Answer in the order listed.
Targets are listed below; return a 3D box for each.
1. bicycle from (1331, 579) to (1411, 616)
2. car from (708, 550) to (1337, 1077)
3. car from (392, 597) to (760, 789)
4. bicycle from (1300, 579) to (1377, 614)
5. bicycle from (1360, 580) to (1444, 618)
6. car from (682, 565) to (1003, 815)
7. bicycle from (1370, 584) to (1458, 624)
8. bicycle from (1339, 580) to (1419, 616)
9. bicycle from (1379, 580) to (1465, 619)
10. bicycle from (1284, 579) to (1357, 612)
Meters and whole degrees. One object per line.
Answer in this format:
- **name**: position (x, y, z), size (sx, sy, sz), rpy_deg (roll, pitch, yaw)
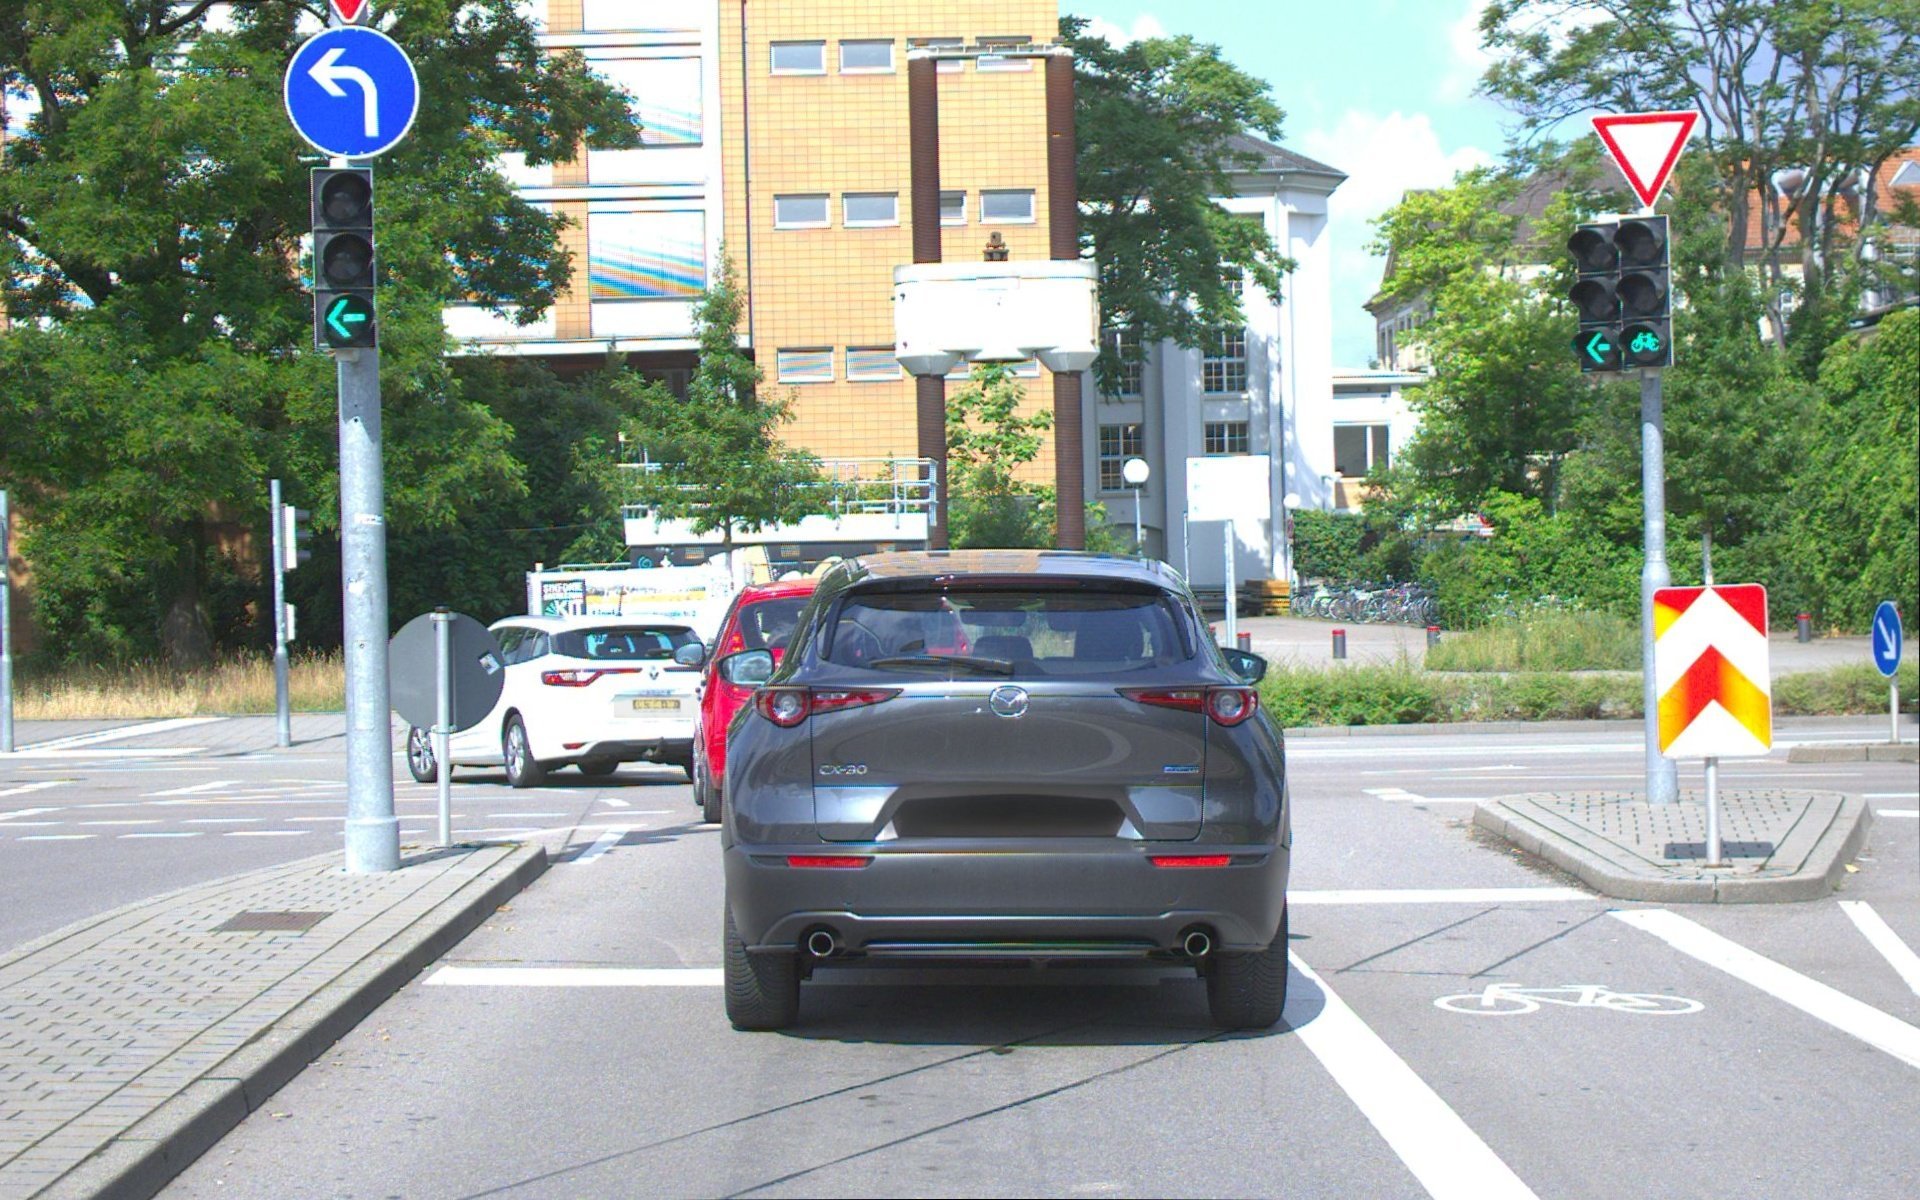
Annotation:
- **bicycle**: position (11.278, -0.069, 94.357), size (2.055, 0.933, 0.804), rpy_deg (-2, 0, -1)
- **car**: position (0.134, 0.599, 12.133), size (1.806, 1.503, 4.205), rpy_deg (1, 1, -1)
- **car**: position (-3.389, 0.747, 29.596), size (1.847, 1.467, 4.336), rpy_deg (-2, 1, -25)
- **bicycle**: position (10.798, -0.104, 98.091), size (2.055, 0.933, 0.804), rpy_deg (-2, 0, -1)
- **bicycle**: position (11.543, -0.027, 89.897), size (2.055, 0.933, 0.804), rpy_deg (-2, 0, -1)
- **car**: position (-0.834, 0.569, 21.819), size (1.816, 1.435, 4.067), rpy_deg (0, -1, -5)
- **bicycle**: position (11.328, 0.098, 85.904), size (2.055, 0.933, 0.804), rpy_deg (-2, 0, -1)
- **bicycle**: position (11.373, -0.057, 93.365), size (2.055, 0.933, 0.804), rpy_deg (-2, 0, -1)
- **bicycle**: position (11.899, -0.012, 88.573), size (2.055, 0.933, 0.804), rpy_deg (-2, 0, -1)
- **bicycle**: position (10.799, -0.146, 102.951), size (2.055, 0.933, 0.804), rpy_deg (-2, 0, -1)
